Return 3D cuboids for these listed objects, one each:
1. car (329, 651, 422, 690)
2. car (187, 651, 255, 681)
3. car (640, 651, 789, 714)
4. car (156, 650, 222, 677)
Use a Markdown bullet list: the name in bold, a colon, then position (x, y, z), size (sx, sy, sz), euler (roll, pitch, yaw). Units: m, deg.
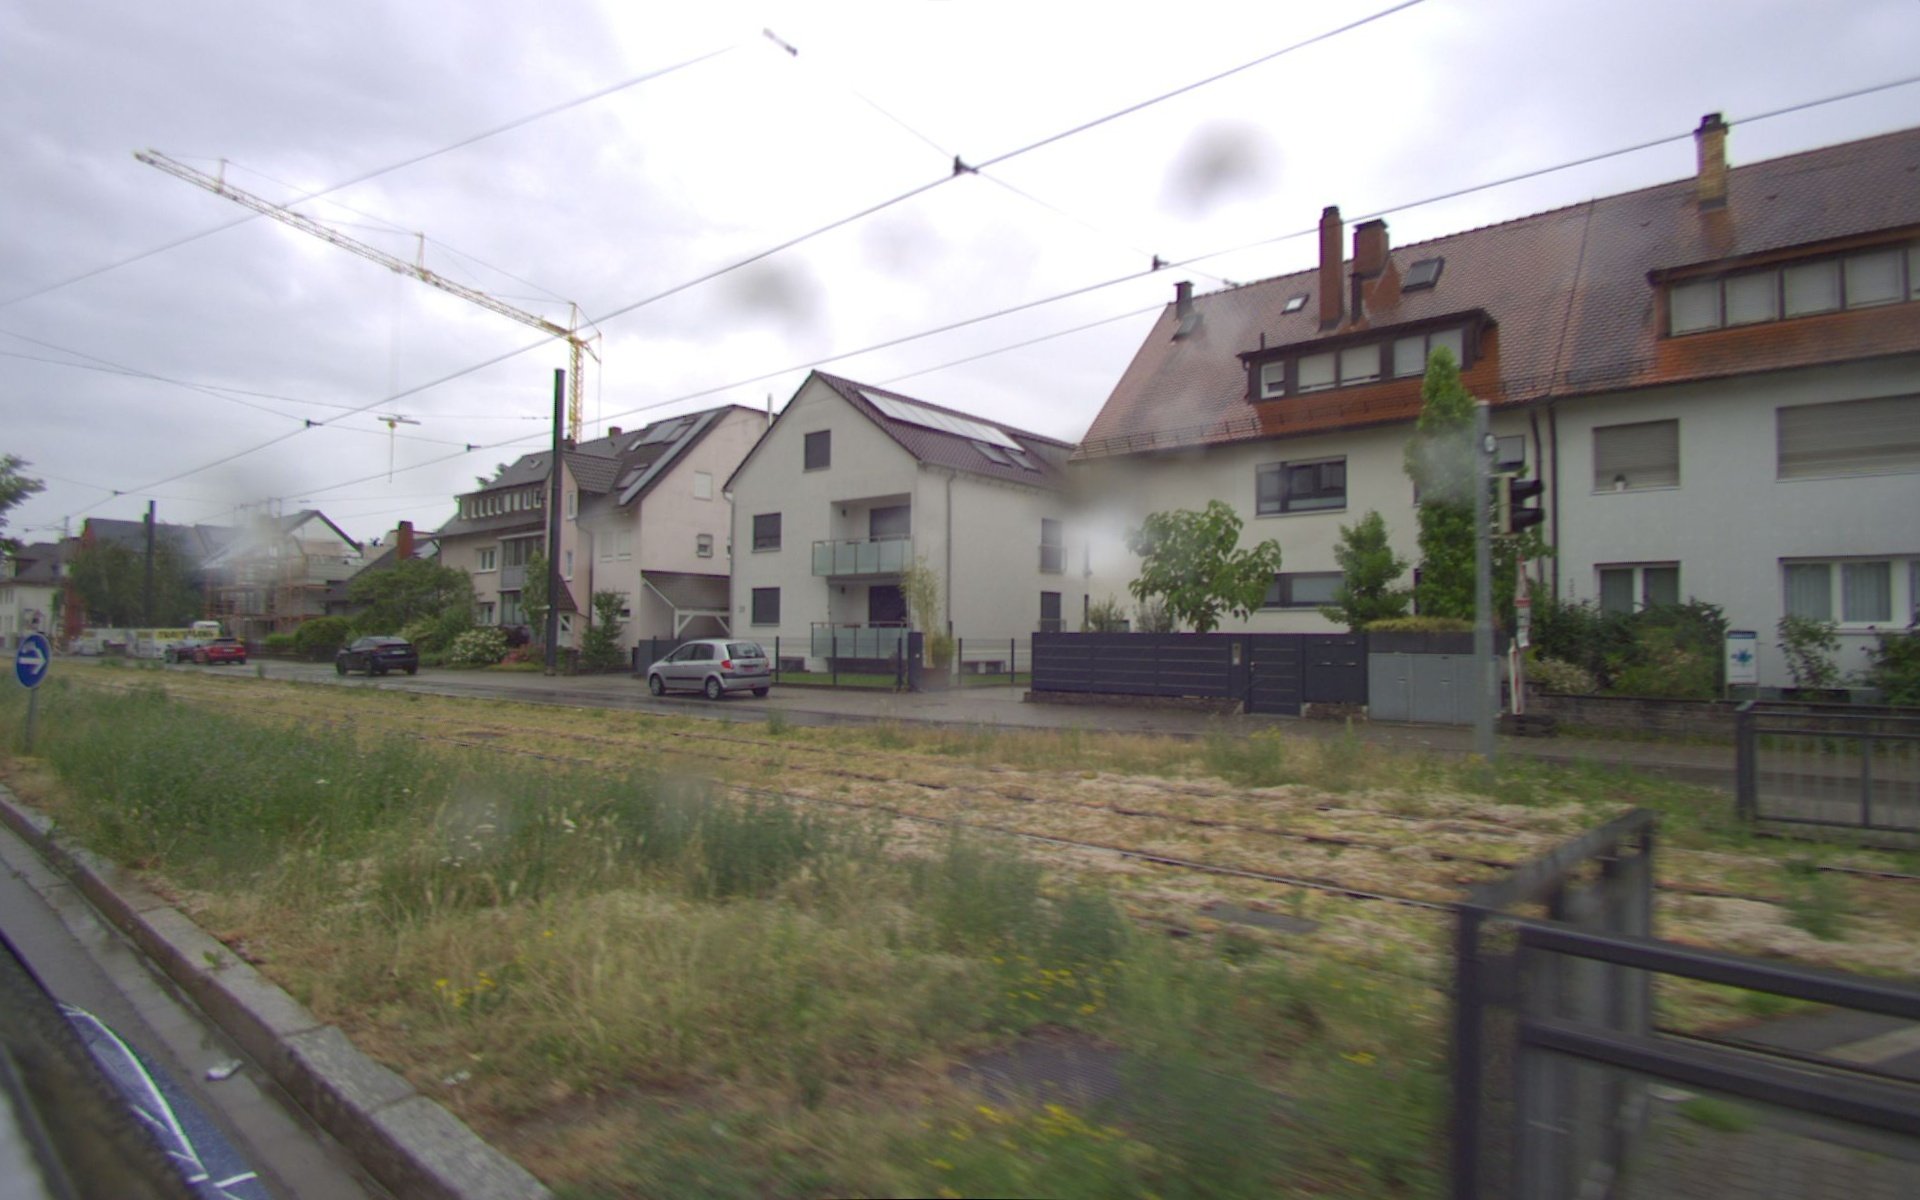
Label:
- **car**: position (-23.209, 2.756, 40.109), size (4.169, 1.438, 1.819), euler (-3, -3, 39)
- **car**: position (-39.117, 3.452, 53.537), size (3.839, 1.383, 1.974), euler (-1, -2, 39)
- **car**: position (-6.425, 2.090, 26.377), size (3.654, 1.424, 1.974), euler (-1, -2, 39)
- **car**: position (-43.340, 3.569, 56.861), size (4.169, 1.420, 1.974), euler (-4, -3, 39)
